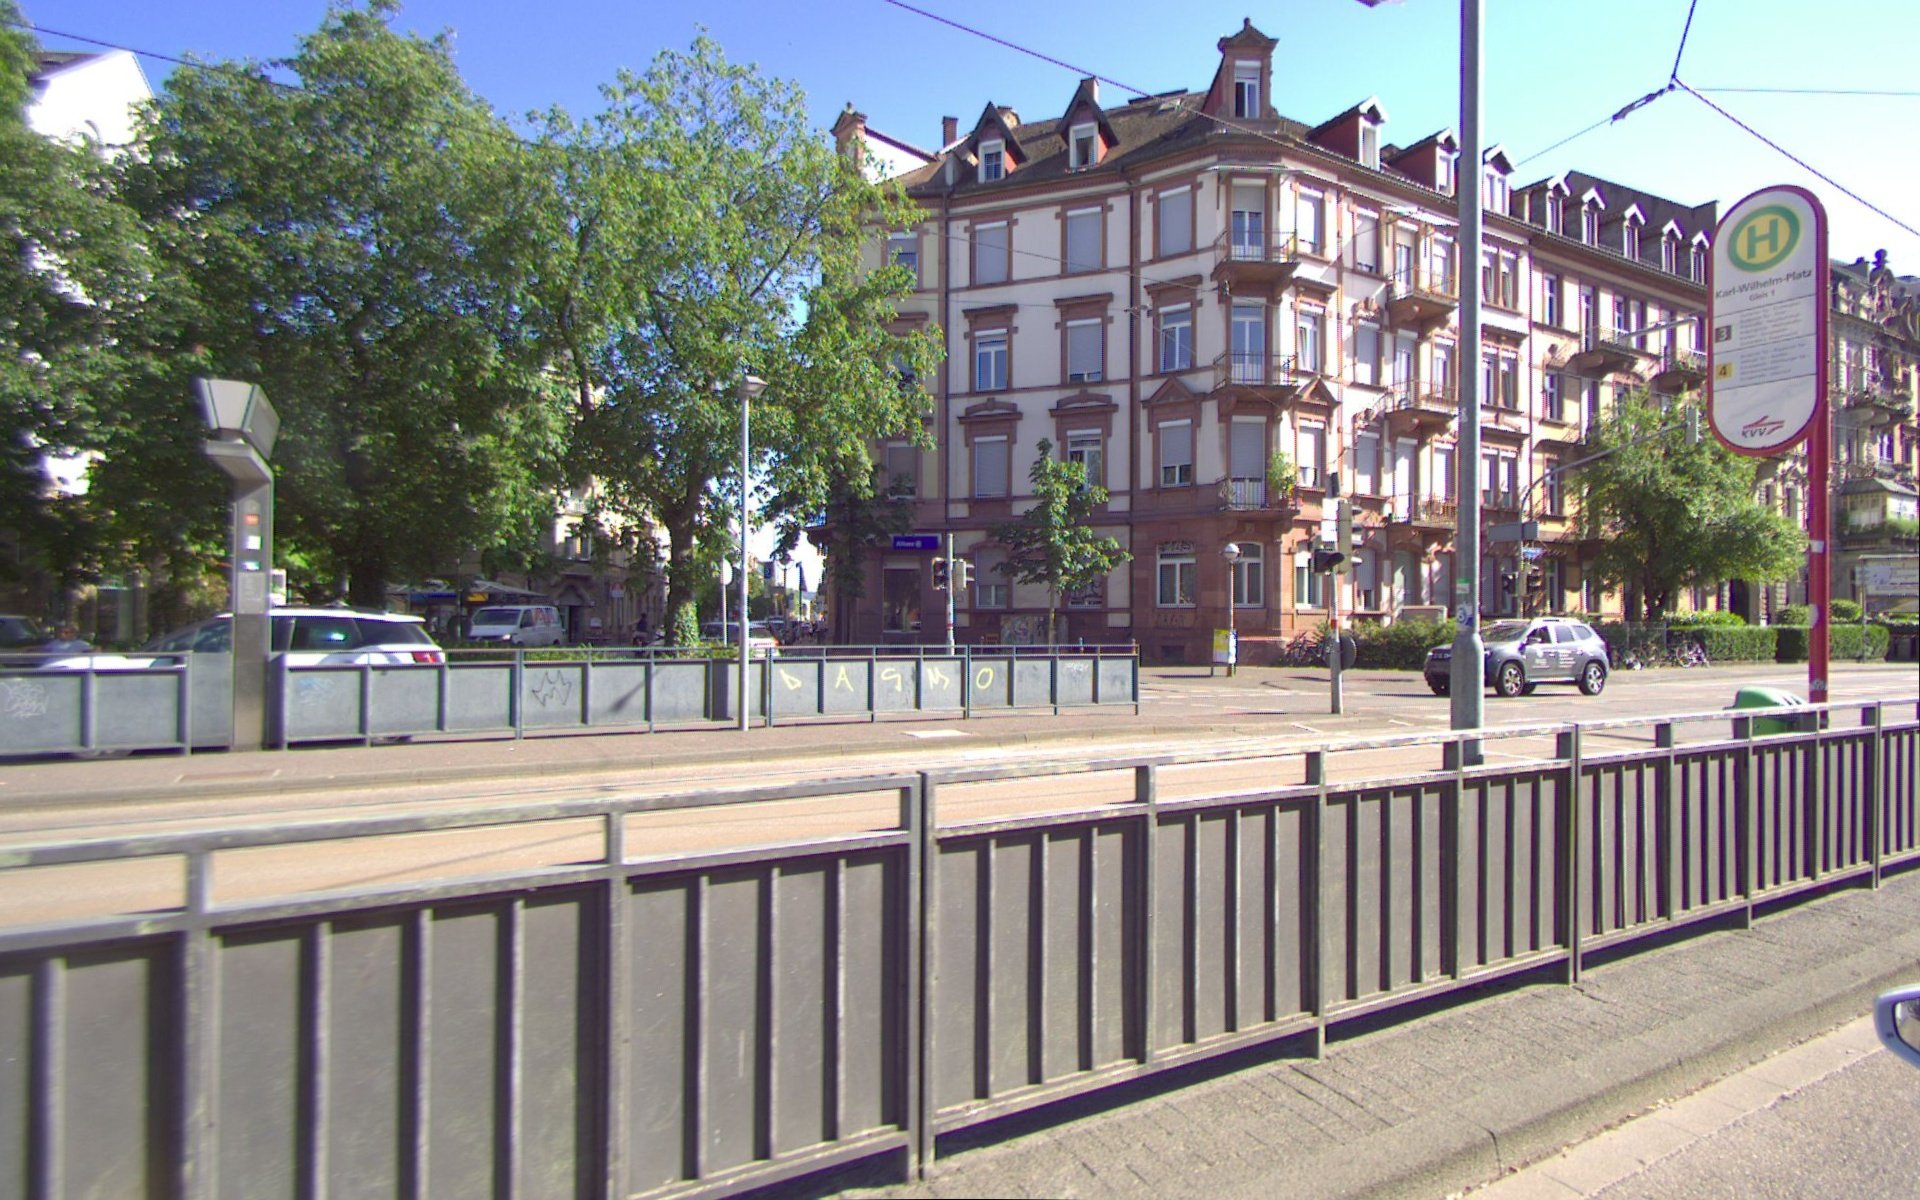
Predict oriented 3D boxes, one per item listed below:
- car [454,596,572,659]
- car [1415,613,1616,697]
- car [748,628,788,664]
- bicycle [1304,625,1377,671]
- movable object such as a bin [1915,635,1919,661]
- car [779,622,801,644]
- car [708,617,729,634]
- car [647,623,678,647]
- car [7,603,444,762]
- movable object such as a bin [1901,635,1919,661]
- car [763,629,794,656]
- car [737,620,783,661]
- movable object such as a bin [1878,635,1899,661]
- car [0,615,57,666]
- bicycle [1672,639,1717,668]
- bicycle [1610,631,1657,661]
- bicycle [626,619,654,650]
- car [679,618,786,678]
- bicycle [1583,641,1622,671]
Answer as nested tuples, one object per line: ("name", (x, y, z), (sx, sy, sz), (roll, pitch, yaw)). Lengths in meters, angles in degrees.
("car", (-15.294, 0.886, 34.661), (1.887, 1.968, 4.857), (1, 0, 0))
("car", (11.964, 1.171, 21.592), (4.215, 1.639, 1.889), (1, -3, -30))
("car", (-9.809, 2.328, 51.486), (1.694, 1.626, 3.453), (1, 0, -6))
("bicycle", (11.510, 1.447, 30.438), (2.004, 1.313, 0.420), (1, 0, 12))
("movable object such as a bin", (41.083, 2.039, 42.731), (0.534, 1.100, 0.477), (1, 0, -28))
("car", (-13.724, 2.625, 81.127), (1.534, 1.623, 3.453), (1, 0, -6))
("car", (-24.188, 2.556, 100.731), (1.534, 1.623, 3.453), (1, 0, -6))
("car", (-21.653, 2.543, 73.228), (1.534, 1.623, 3.453), (1, 0, -6))
("car", (-8.034, 0.858, 11.469), (3.749, 1.560, 1.685), (1, -2, -27))
("movable object such as a bin", (40.276, 2.026, 42.514), (0.534, 1.100, 0.477), (1, 0, -28))
("car", (-10.492, 2.448, 58.204), (1.534, 1.429, 3.453), (1, 0, -6))
("car", (-8.751, 1.759, 44.201), (1.682, 1.623, 3.453), (1, 0, -6))
("movable object such as a bin", (39.899, 2.042, 43.160), (0.534, 1.100, 0.477), (1, 0, -28))
("car", (-22.732, 0.915, 22.858), (3.117, 1.110, 1.452), (1, 0, -38))
("bicycle", (24.805, 1.789, 33.920), (1.917, 0.938, 0.341), (1, 0, -26))
("bicycle", (22.019, 1.506, 32.828), (1.917, 0.938, 0.341), (1, 0, -26))
("bicycle", (-11.223, 1.199, 35.246), (0.563, 1.006, 1.548), (1, 0, -3))
("car", (-6.355, 1.284, 27.902), (1.565, 1.461, 3.417), (1, 0, -39))
("bicycle", (20.392, 1.765, 31.873), (1.433, 0.938, 0.341), (1, 0, -26))
